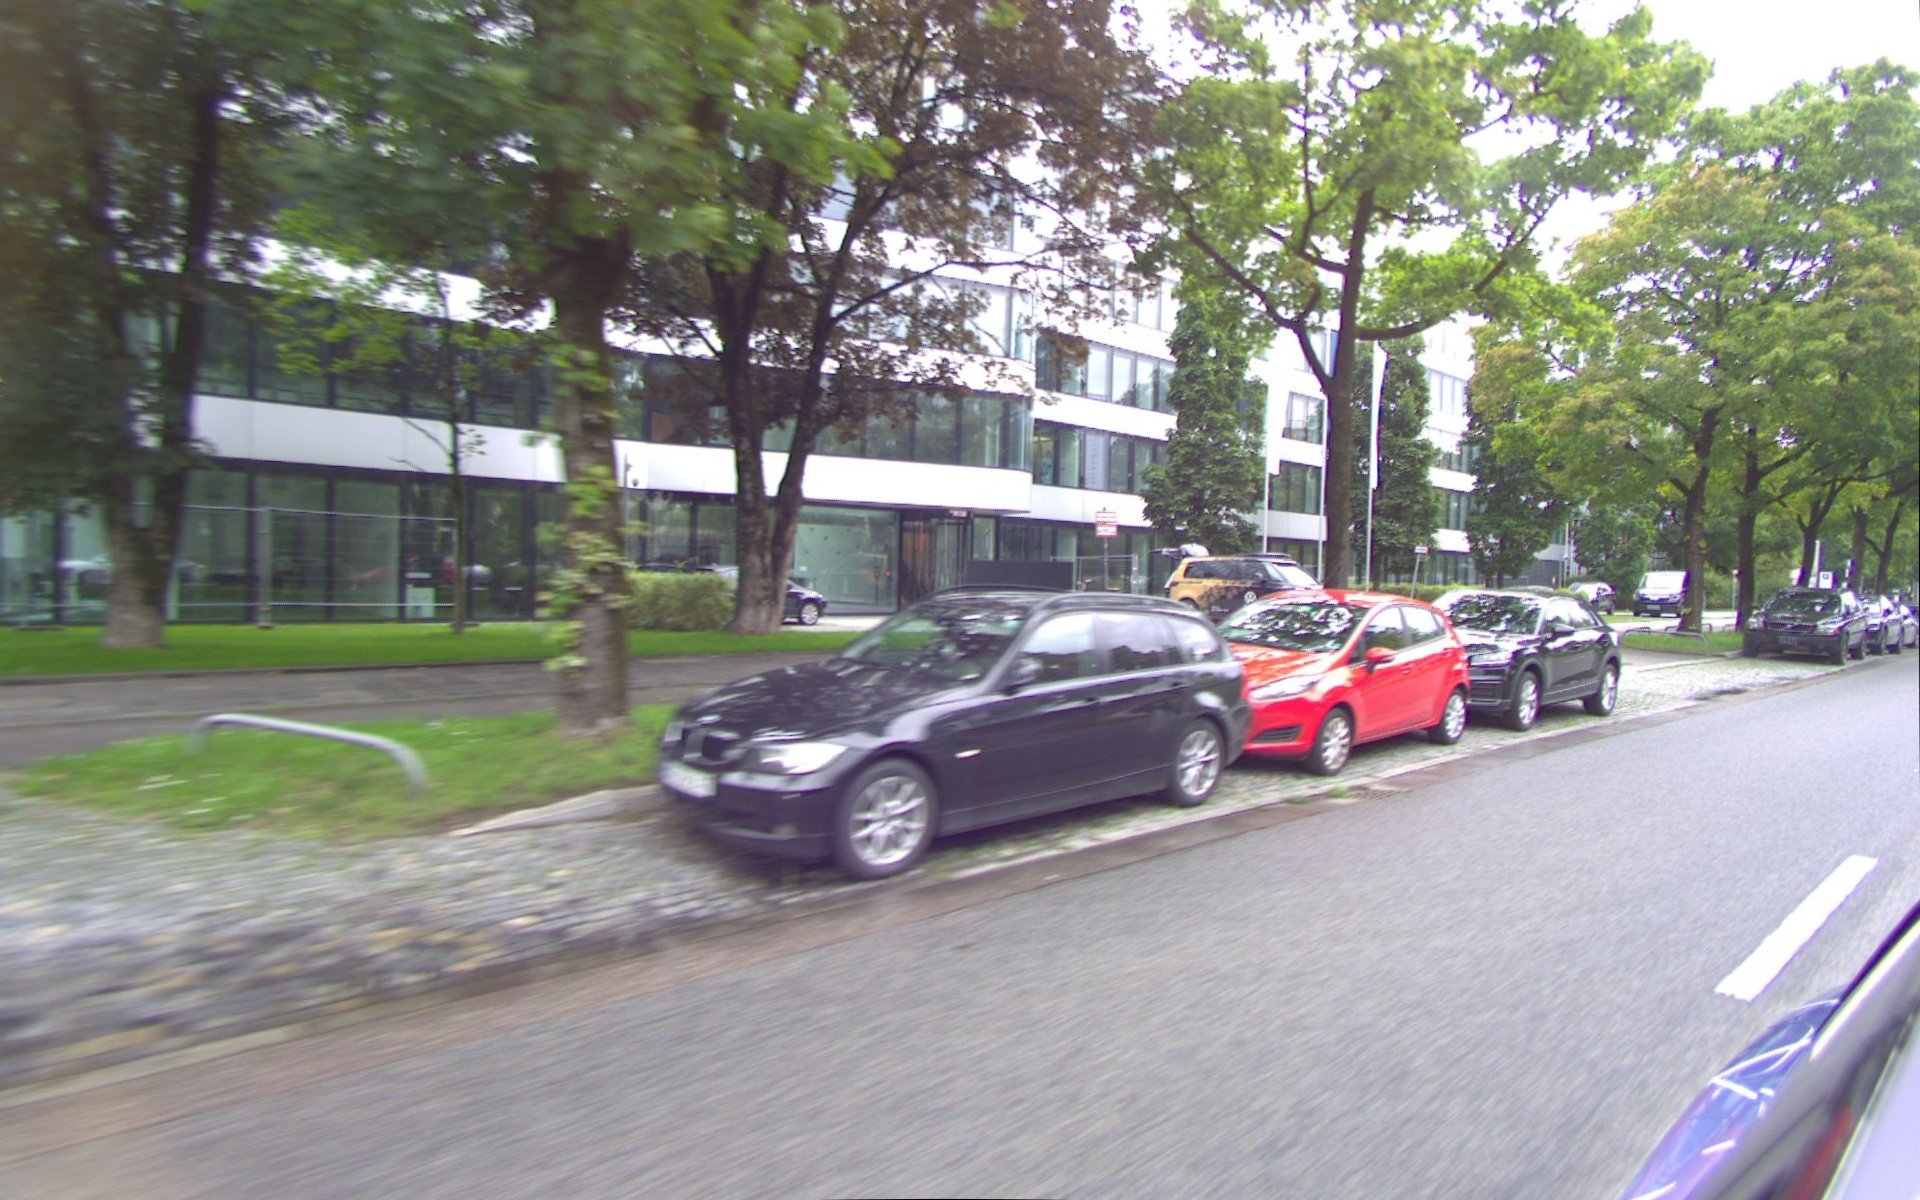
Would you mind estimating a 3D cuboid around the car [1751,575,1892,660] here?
[{"bbox_3d":[21.105,0.374,24.722,4.776,1.822,1.897,0,3,-41],"label":"car"}]

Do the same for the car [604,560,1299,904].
[{"bbox_3d":[0.220,0.565,6.624,4.502,1.471,1.679,0,4,-41],"label":"car"}]

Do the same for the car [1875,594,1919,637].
[{"bbox_3d":[34.366,0.543,36.314,4.048,1.438,1.705,0,3,-41],"label":"car"}]

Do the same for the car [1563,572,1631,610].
[{"bbox_3d":[33.027,-0.456,52.398,4.396,1.840,1.845,0,3,-43],"label":"car"}]

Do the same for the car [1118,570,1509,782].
[{"bbox_3d":[3.451,0.551,9.534,3.951,1.519,1.679,0,4,-41],"label":"car"}]

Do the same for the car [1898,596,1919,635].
[{"bbox_3d":[38.246,0.633,39.632,3.908,1.464,1.705,0,3,-41],"label":"car"}]

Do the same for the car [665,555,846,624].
[{"bbox_3d":[-5.060,-0.280,25.285,3.978,1.567,2.022,0,2,-42],"label":"car"}]

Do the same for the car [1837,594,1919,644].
[{"bbox_3d":[29.542,0.573,32.142,4.430,1.425,1.707,0,3,-38],"label":"car"}]

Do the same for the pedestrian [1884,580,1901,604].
[{"bbox_3d":[77.024,-0.634,83.587,0.733,1.923,0.654,2,1,-9],"label":"pedestrian"}]

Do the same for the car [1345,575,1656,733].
[{"bbox_3d":[6.707,0.545,12.384,4.207,1.529,1.785,0,4,-39],"label":"car"}]

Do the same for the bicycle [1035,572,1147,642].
[{"bbox_3d":[2.428,0.116,18.584,2.207,1.197,0.750,0,2,-41],"label":"bicycle"}]

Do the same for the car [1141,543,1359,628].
[{"bbox_3d":[7.838,-0.460,27.866,2.109,2.109,5.481,0,2,-41],"label":"car"}]

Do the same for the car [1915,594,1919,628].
[{"bbox_3d":[42.470,0.512,43.409,4.158,1.414,1.705,0,3,-41],"label":"car"}]

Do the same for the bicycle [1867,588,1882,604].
[{"bbox_3d":[77.085,-0.329,85.324,1.826,1.241,0.532,2,3,-37],"label":"bicycle"}]

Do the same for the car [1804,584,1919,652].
[{"bbox_3d":[25.541,0.467,28.472,4.712,1.696,1.818,0,2,-39],"label":"car"}]

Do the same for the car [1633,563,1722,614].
[{"bbox_3d":[35.625,-0.553,50.176,6.161,2.335,2.268,0,3,-43],"label":"car"}]
